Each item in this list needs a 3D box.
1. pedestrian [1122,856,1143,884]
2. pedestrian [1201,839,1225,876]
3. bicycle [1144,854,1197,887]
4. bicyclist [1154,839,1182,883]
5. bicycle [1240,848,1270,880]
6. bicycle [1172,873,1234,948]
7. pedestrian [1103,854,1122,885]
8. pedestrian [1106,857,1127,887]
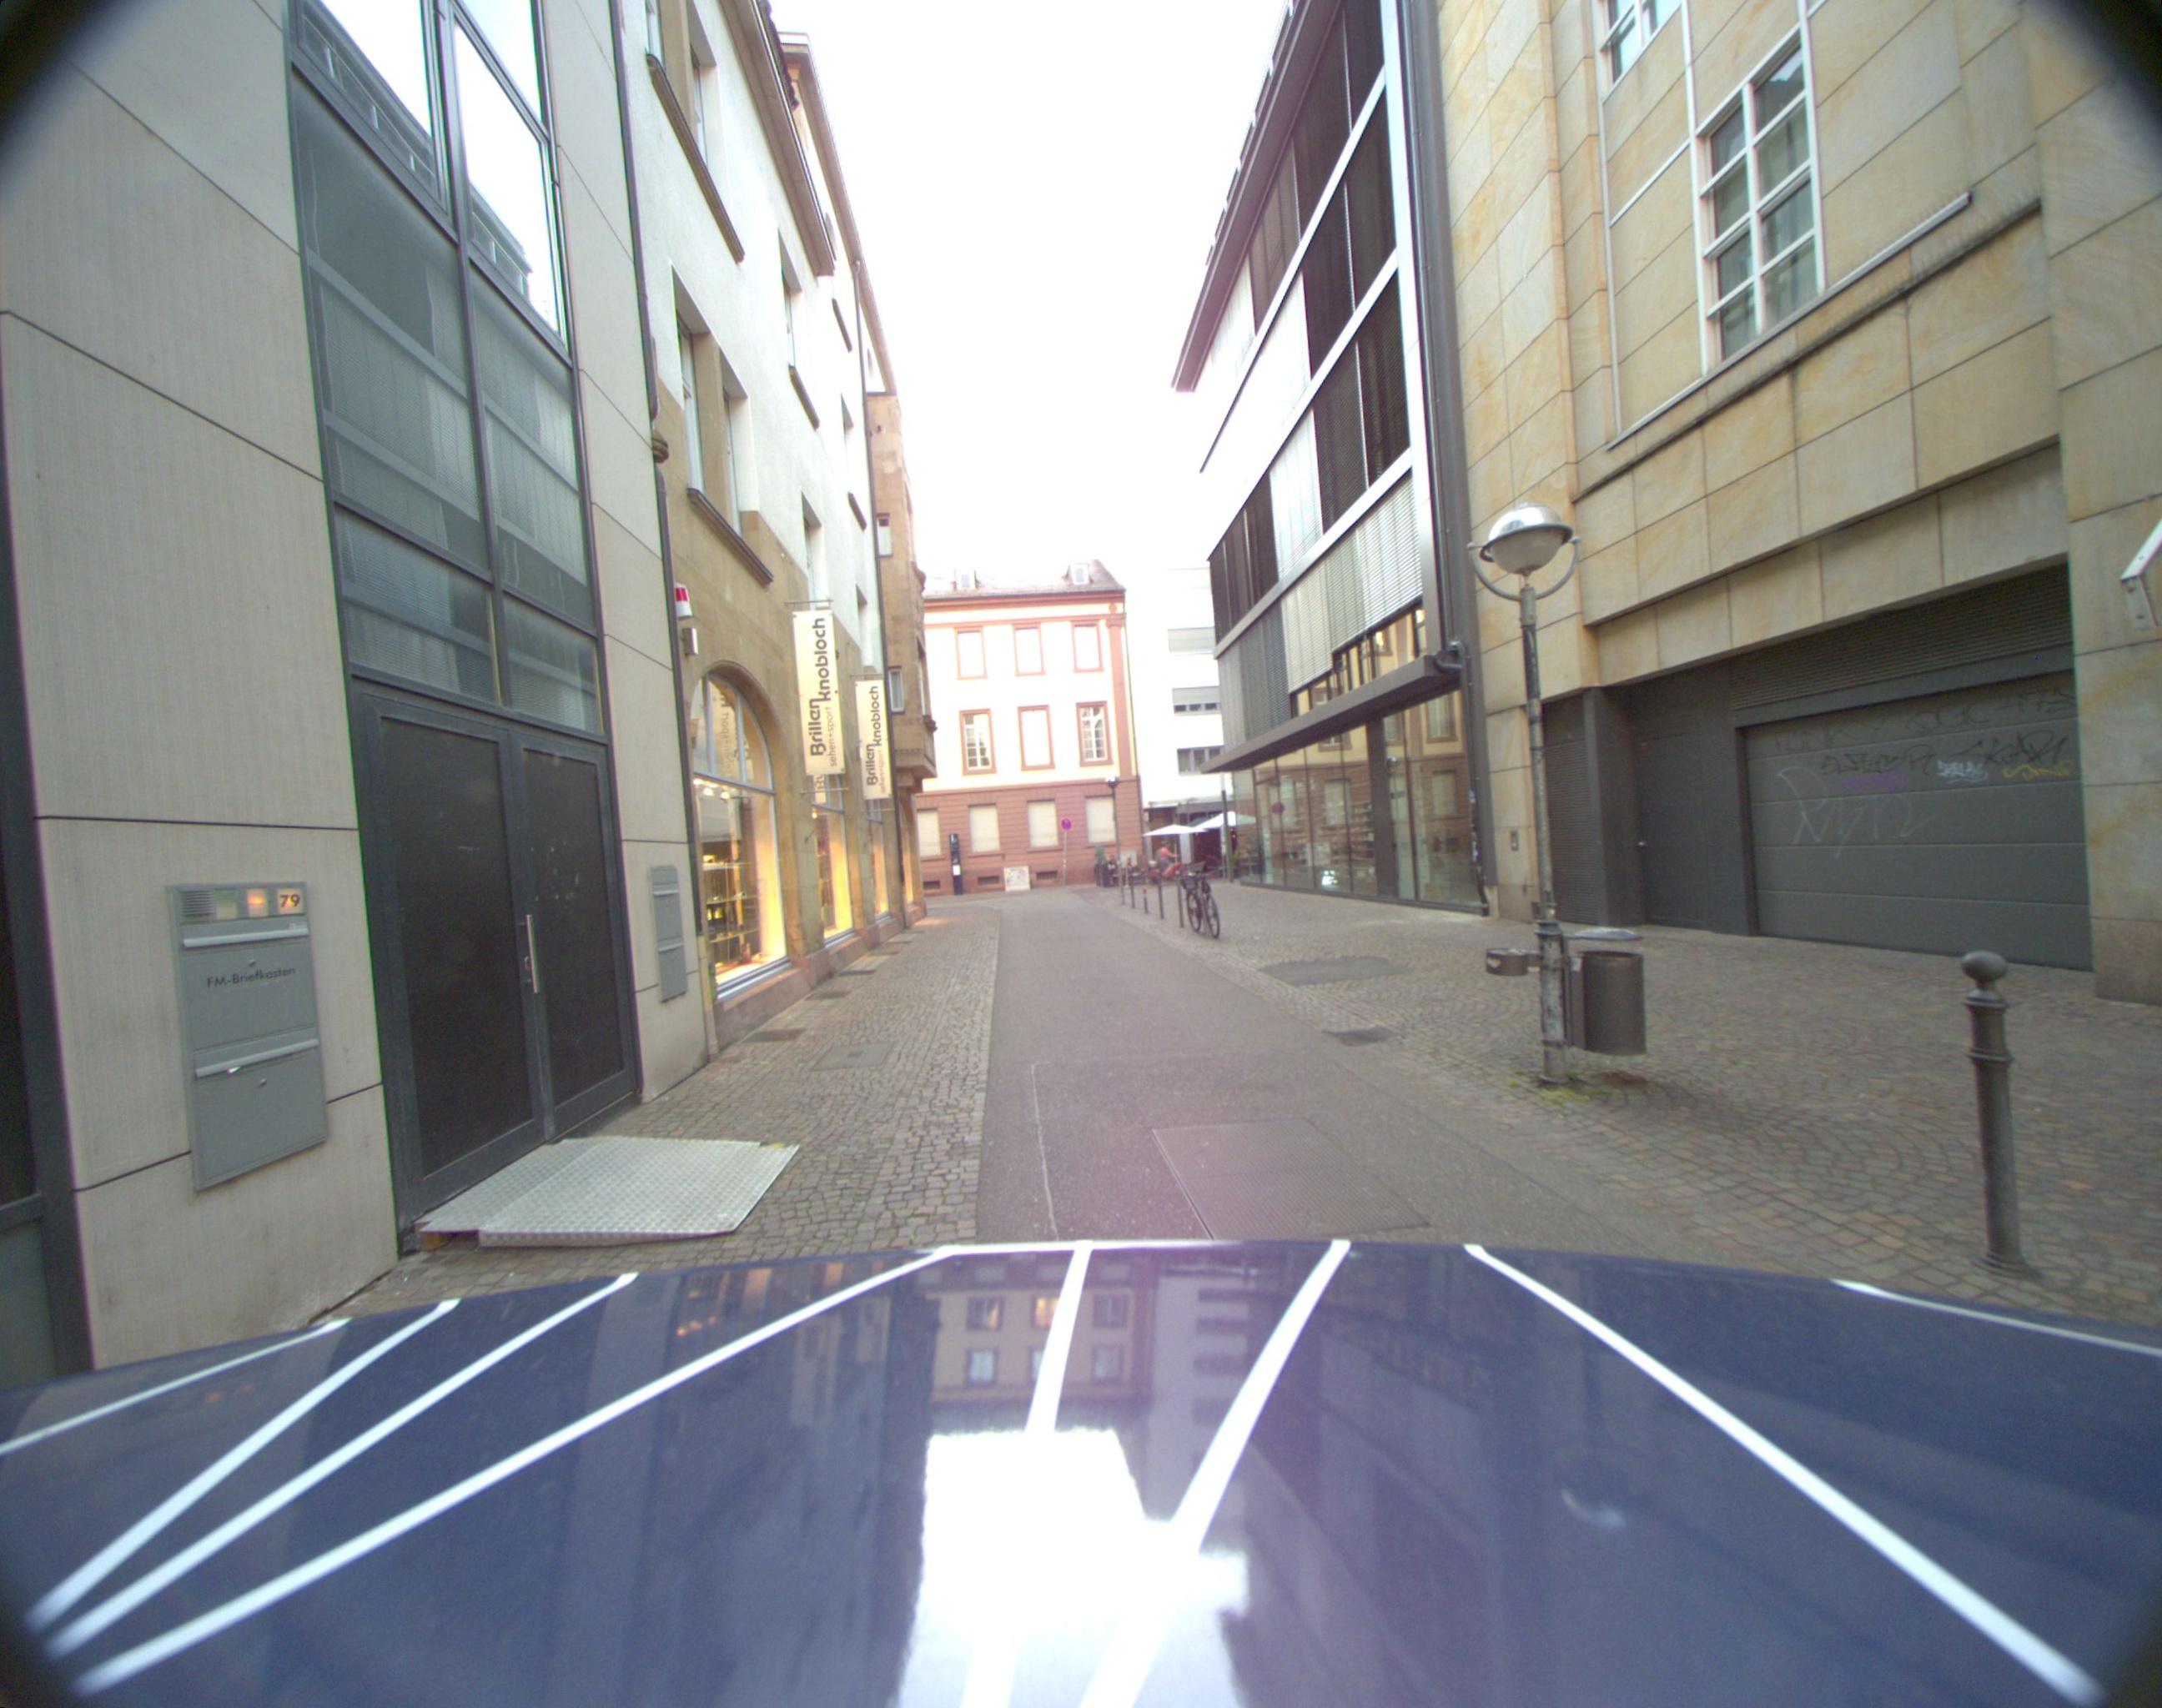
[{"bbox_3d":[2.280,0.693,33.689,0.673,1.177,0.792,-4,2,-7],"label":"pedestrian"},{"bbox_3d":[5.964,0.160,34.365,0.725,1.639,0.792,-5,1,-10],"label":"pedestrian"},{"bbox_3d":[3.615,0.663,30.833,1.980,1.143,0.578,-5,1,-4],"label":"bicycle"},{"bbox_3d":[3.518,0.288,30.803,0.900,1.694,0.630,-5,1,-4],"label":"bicyclist"},{"bbox_3d":[6.451,0.387,28.200,0.467,1.129,1.702,-5,-1,-5],"label":"bicycle"},{"bbox_3d":[2.062,0.926,13.100,0.411,1.126,1.929,-5,1,-9],"label":"bicycle"},{"bbox_3d":[1.392,0.677,33.708,0.673,1.324,0.792,-4,2,-7],"label":"pedestrian"},{"bbox_3d":[1.532,0.765,32.608,0.674,1.177,0.792,-5,2,-10],"label":"pedestrian"}]
